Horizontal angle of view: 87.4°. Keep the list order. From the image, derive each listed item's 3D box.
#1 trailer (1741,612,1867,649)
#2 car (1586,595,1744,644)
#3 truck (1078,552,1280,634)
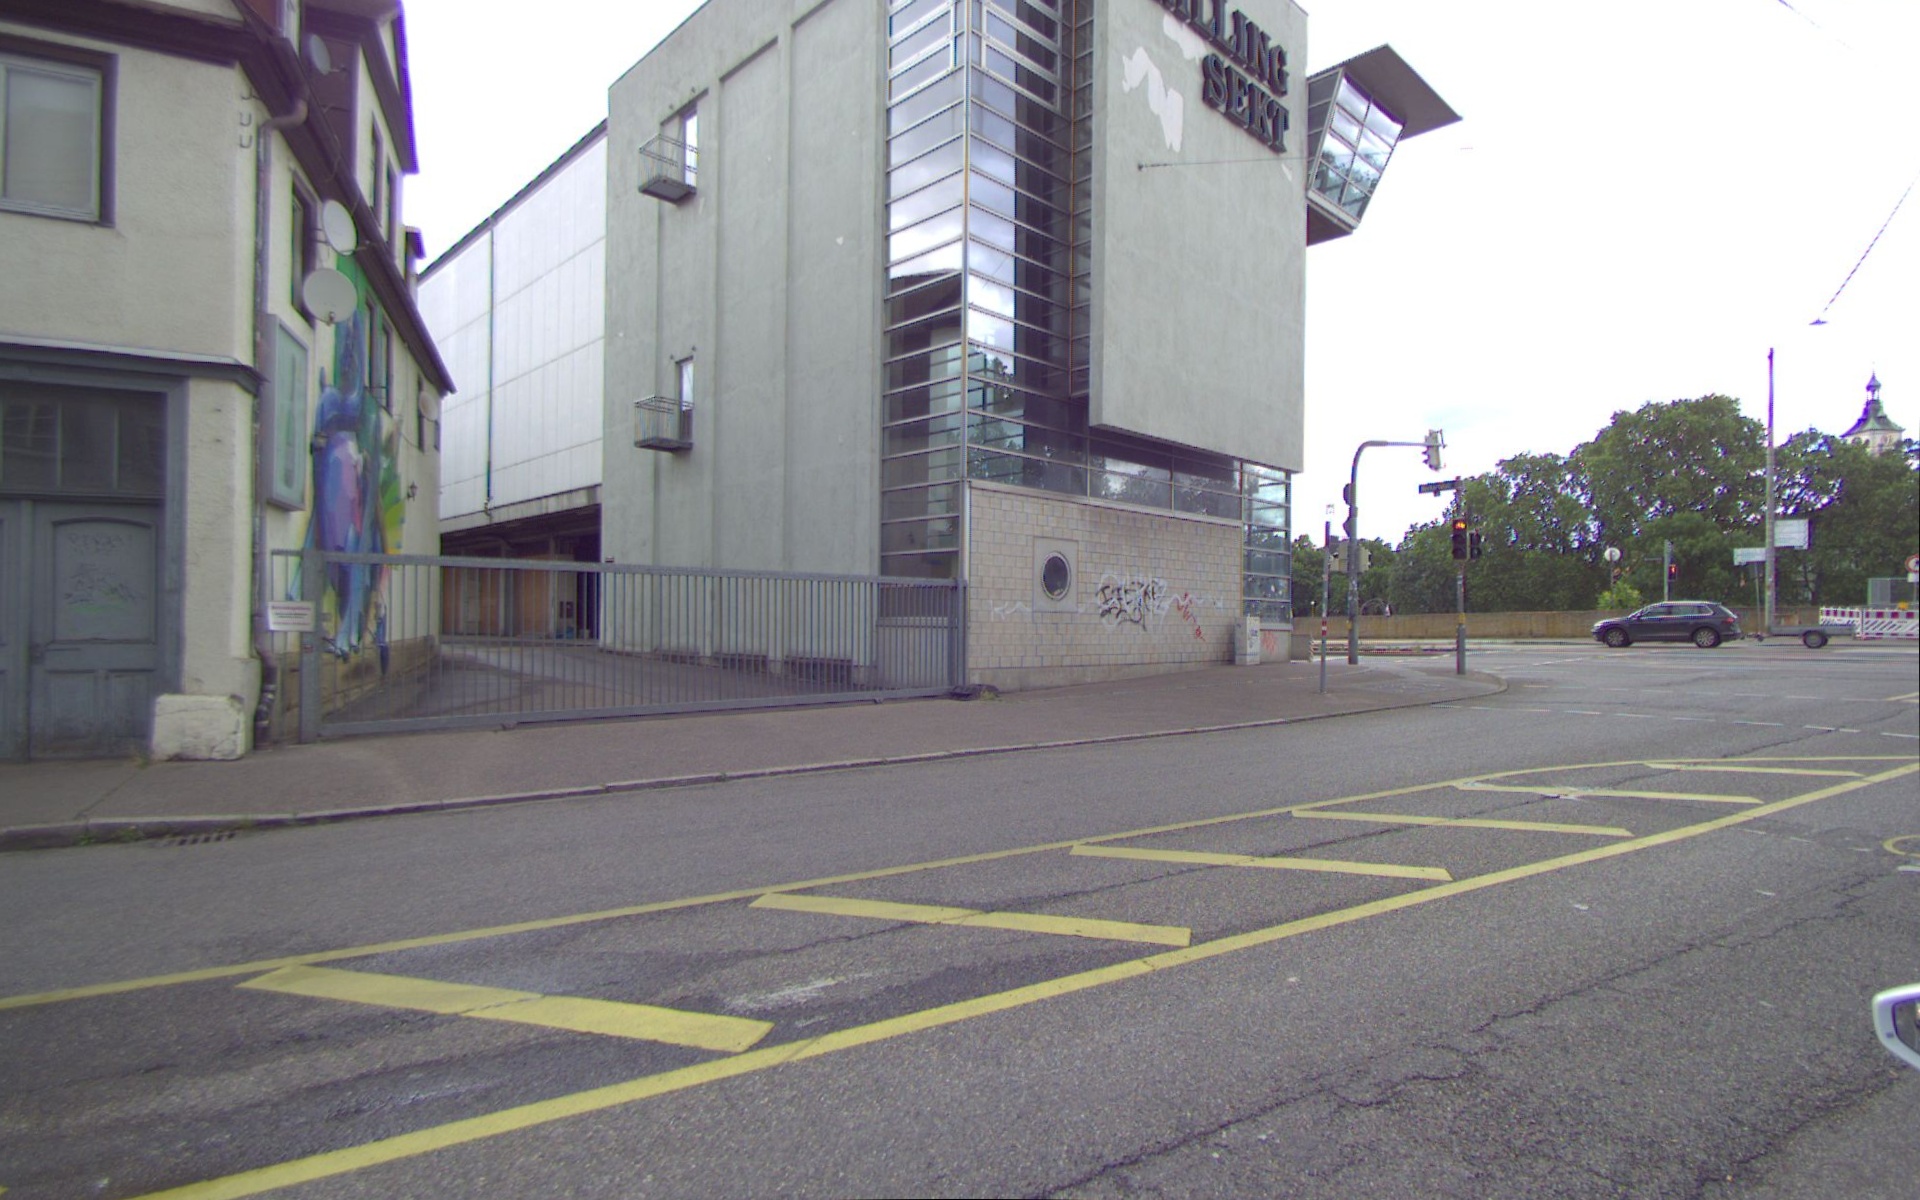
[{"bbox_3d":[28.372,1.010,33.797,3.166,1.173,1.989,-1,-1,43],"label":"trailer"},{"bbox_3d":[25.513,0.760,36.441,4.469,1.655,1.990,-2,-3,42],"label":"car"},{"bbox_3d":[10.695,-0.299,50.159,10.069,3.745,2.259,0,-1,41],"label":"truck"}]
